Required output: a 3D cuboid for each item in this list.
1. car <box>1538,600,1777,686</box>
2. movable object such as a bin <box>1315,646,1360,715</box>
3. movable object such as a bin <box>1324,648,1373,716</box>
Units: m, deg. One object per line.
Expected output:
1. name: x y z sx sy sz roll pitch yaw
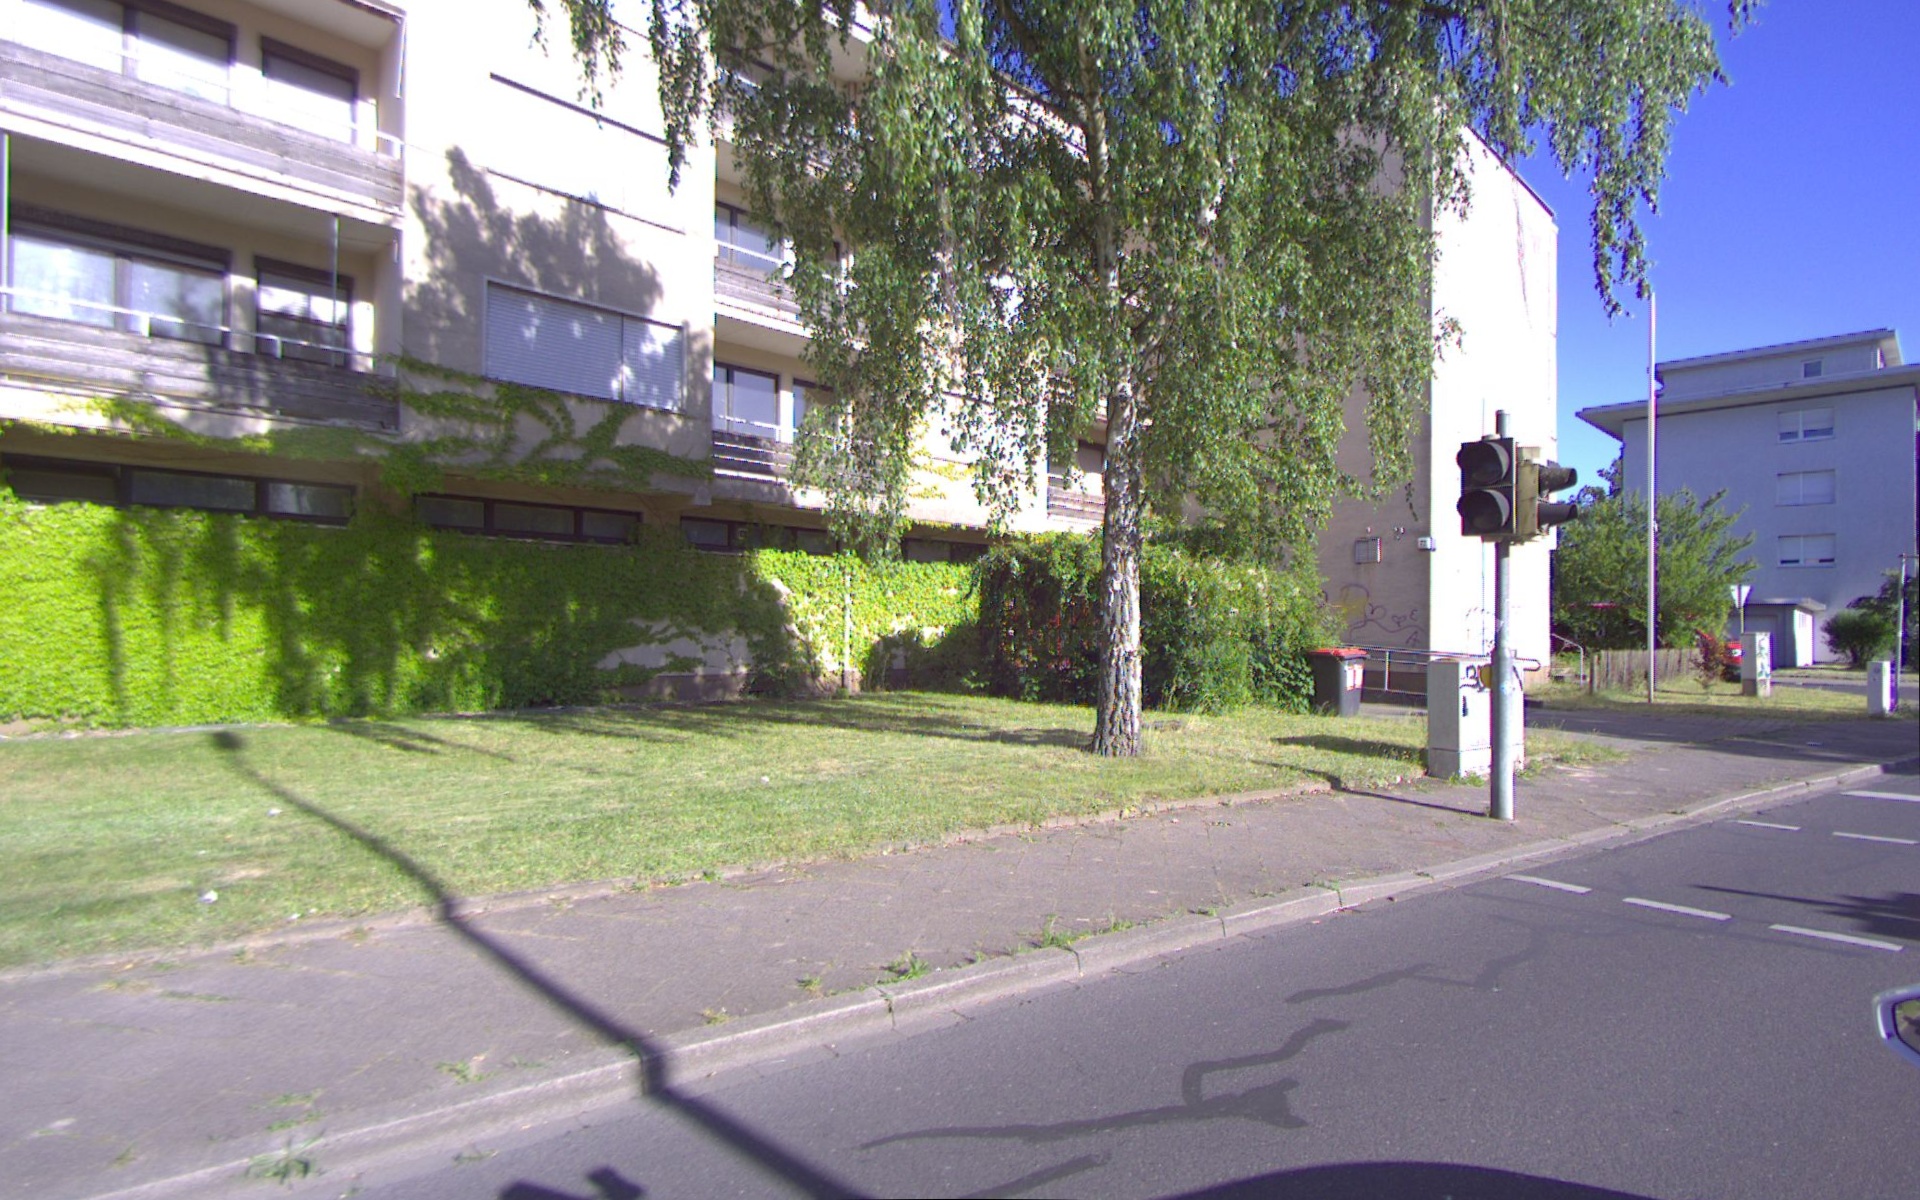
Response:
1. car: 22.045 1.327 32.076 2.189 2.461 5.871 0 -2 -33
2. movable object such as a bin: 6.000 1.263 15.941 0.555 1.067 0.555 0 -2 34
3. movable object such as a bin: 6.369 1.329 16.464 0.618 1.062 0.701 0 -2 33
